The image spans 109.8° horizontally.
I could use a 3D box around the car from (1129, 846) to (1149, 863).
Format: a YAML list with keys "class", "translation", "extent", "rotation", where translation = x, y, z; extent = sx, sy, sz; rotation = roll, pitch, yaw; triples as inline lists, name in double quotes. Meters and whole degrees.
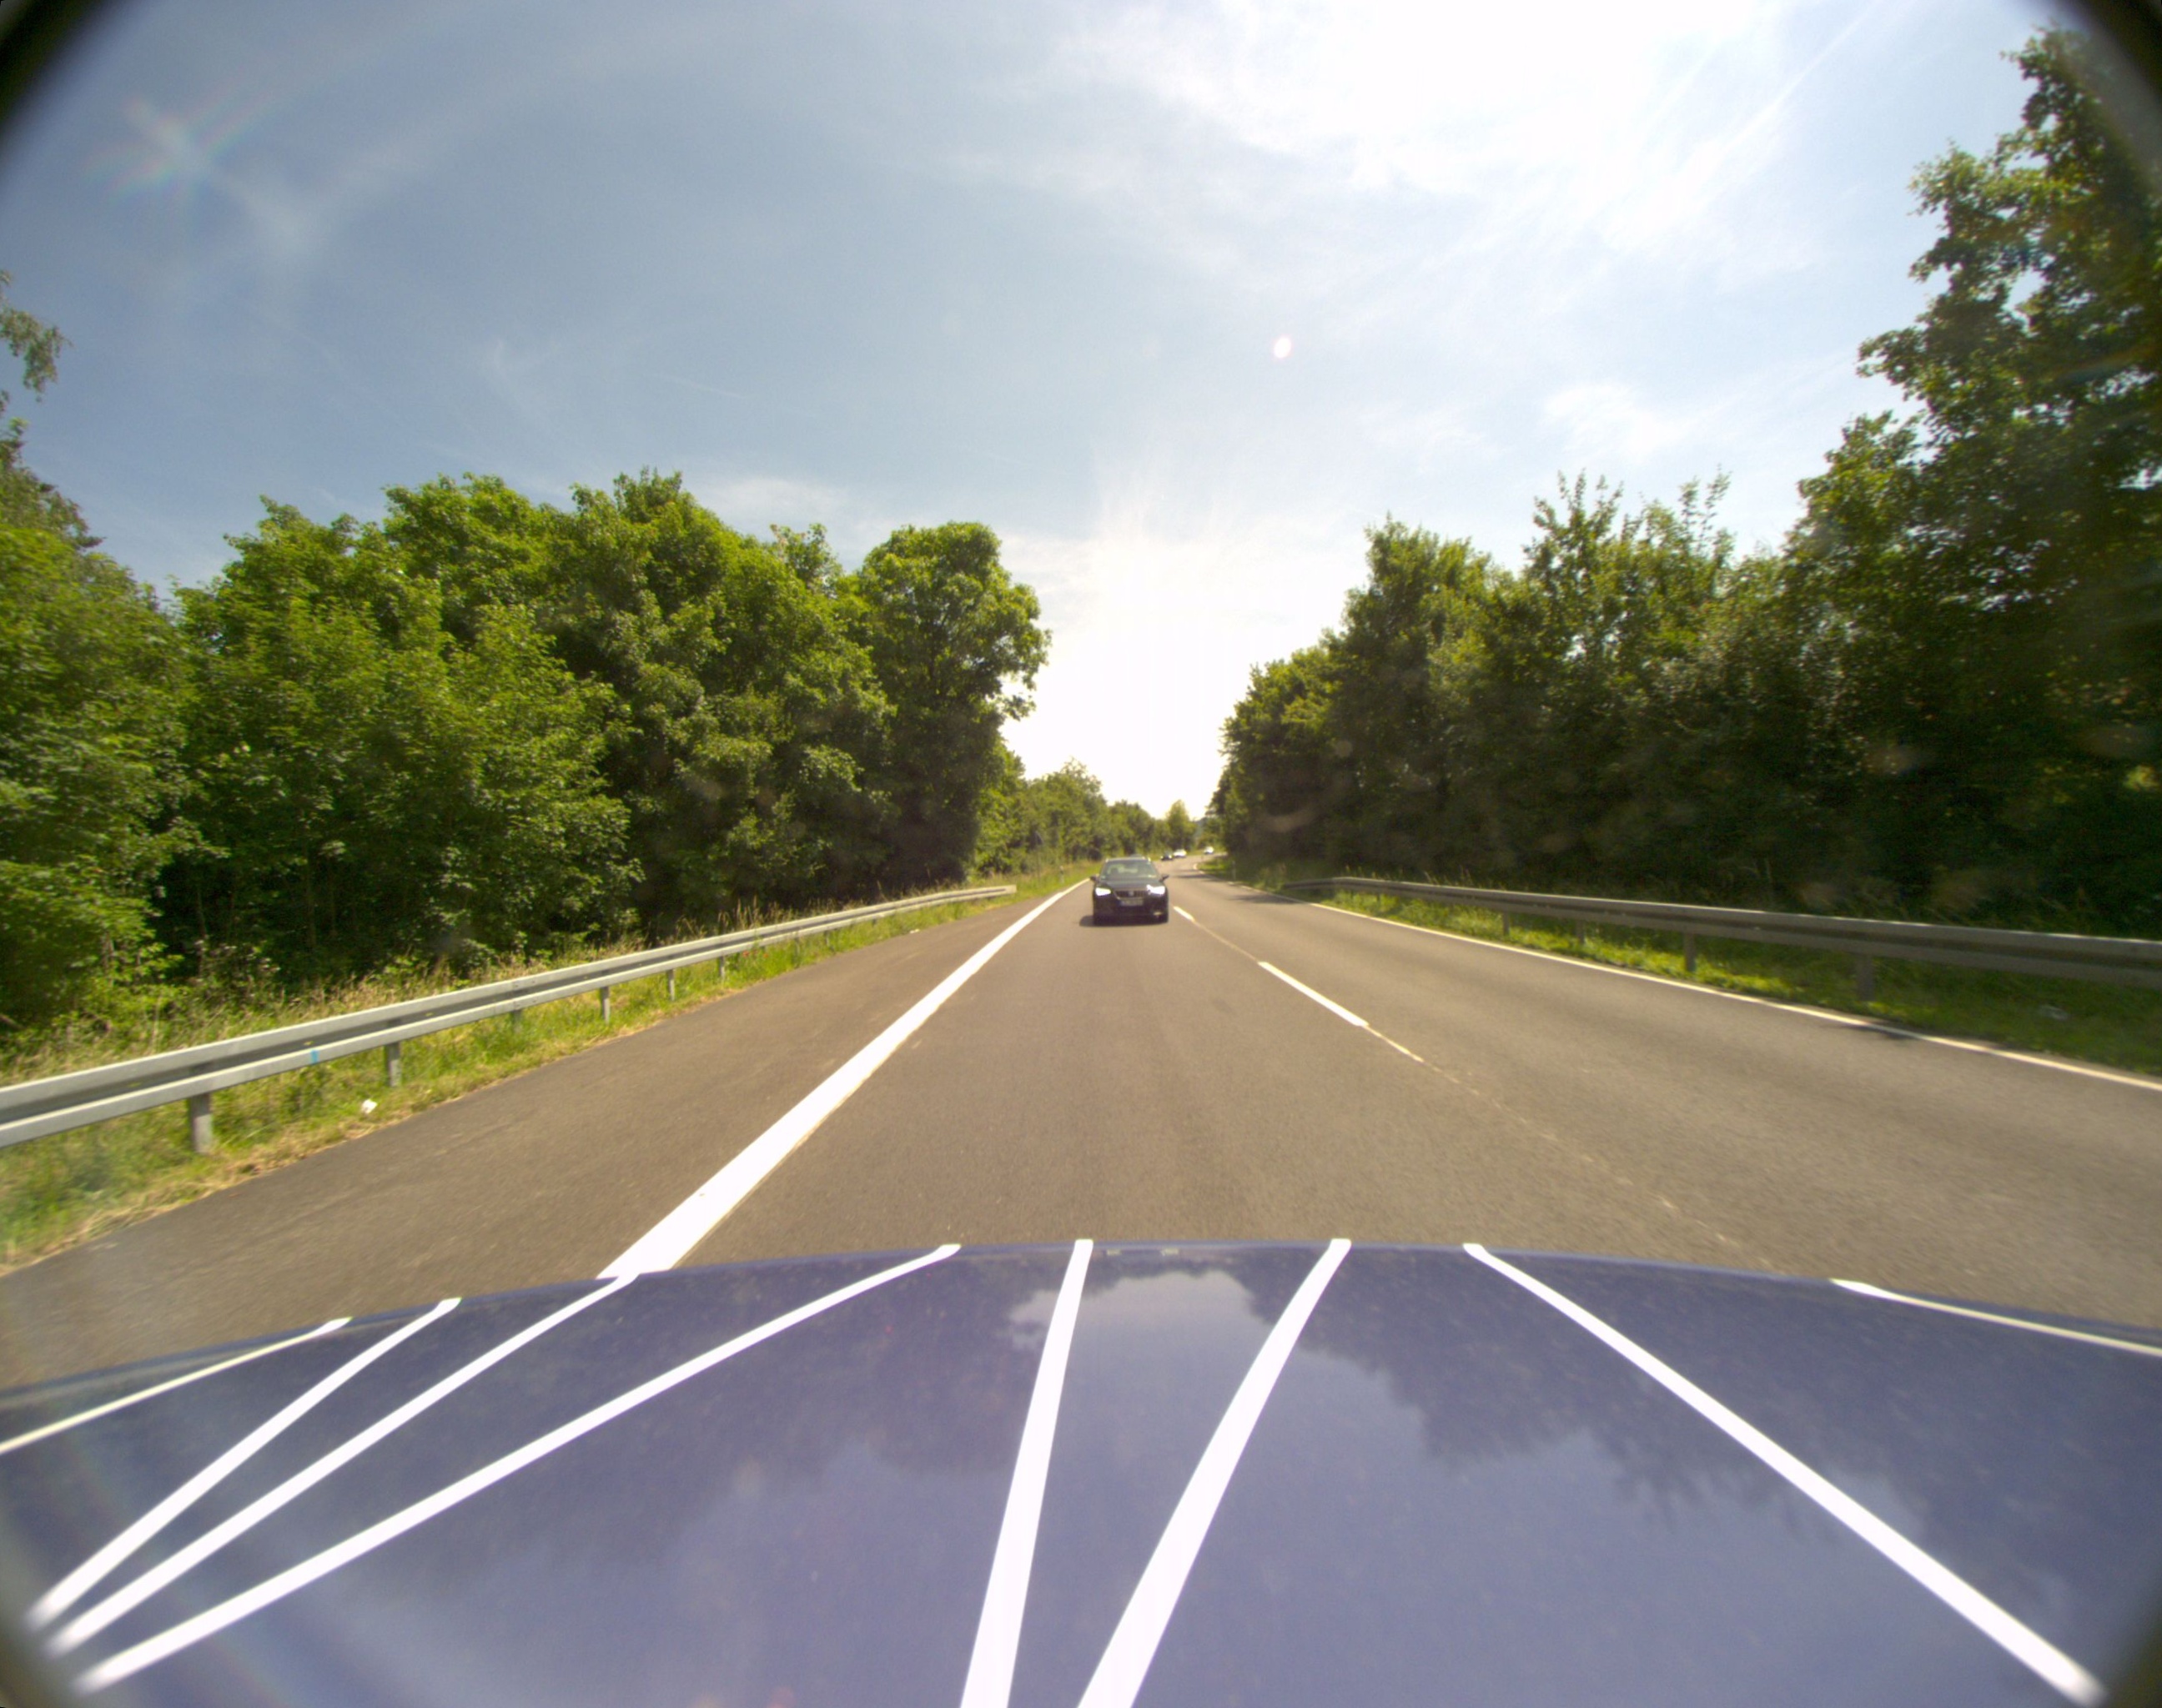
- class: "car"
  translation: [6.299, 0.072, 81.861]
  extent: [1.882, 1.698, 4.003]
  rotation: [-1, -1, 7]

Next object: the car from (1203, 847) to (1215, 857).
- class: "car"
  translation: [28.779, -0.474, 170.858]
  extent: [1.996, 2.002, 4.006]
  rotation: [-2, 0, 20]

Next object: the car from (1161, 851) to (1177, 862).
- class: "car"
  translation: [13.702, 0.410, 118.350]
  extent: [1.881, 1.698, 4.005]
  rotation: [-1, -1, 14]

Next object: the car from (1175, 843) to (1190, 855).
- class: "car"
  translation: [18.756, -0.890, 140.063]
  extent: [1.996, 2.002, 4.005]
  rotation: [-1, 0, 17]

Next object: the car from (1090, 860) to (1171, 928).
- class: "car"
  translation: [1.273, 0.914, 18.701]
  extent: [1.737, 1.467, 4.002]
  rotation: [-1, -1, 5]
